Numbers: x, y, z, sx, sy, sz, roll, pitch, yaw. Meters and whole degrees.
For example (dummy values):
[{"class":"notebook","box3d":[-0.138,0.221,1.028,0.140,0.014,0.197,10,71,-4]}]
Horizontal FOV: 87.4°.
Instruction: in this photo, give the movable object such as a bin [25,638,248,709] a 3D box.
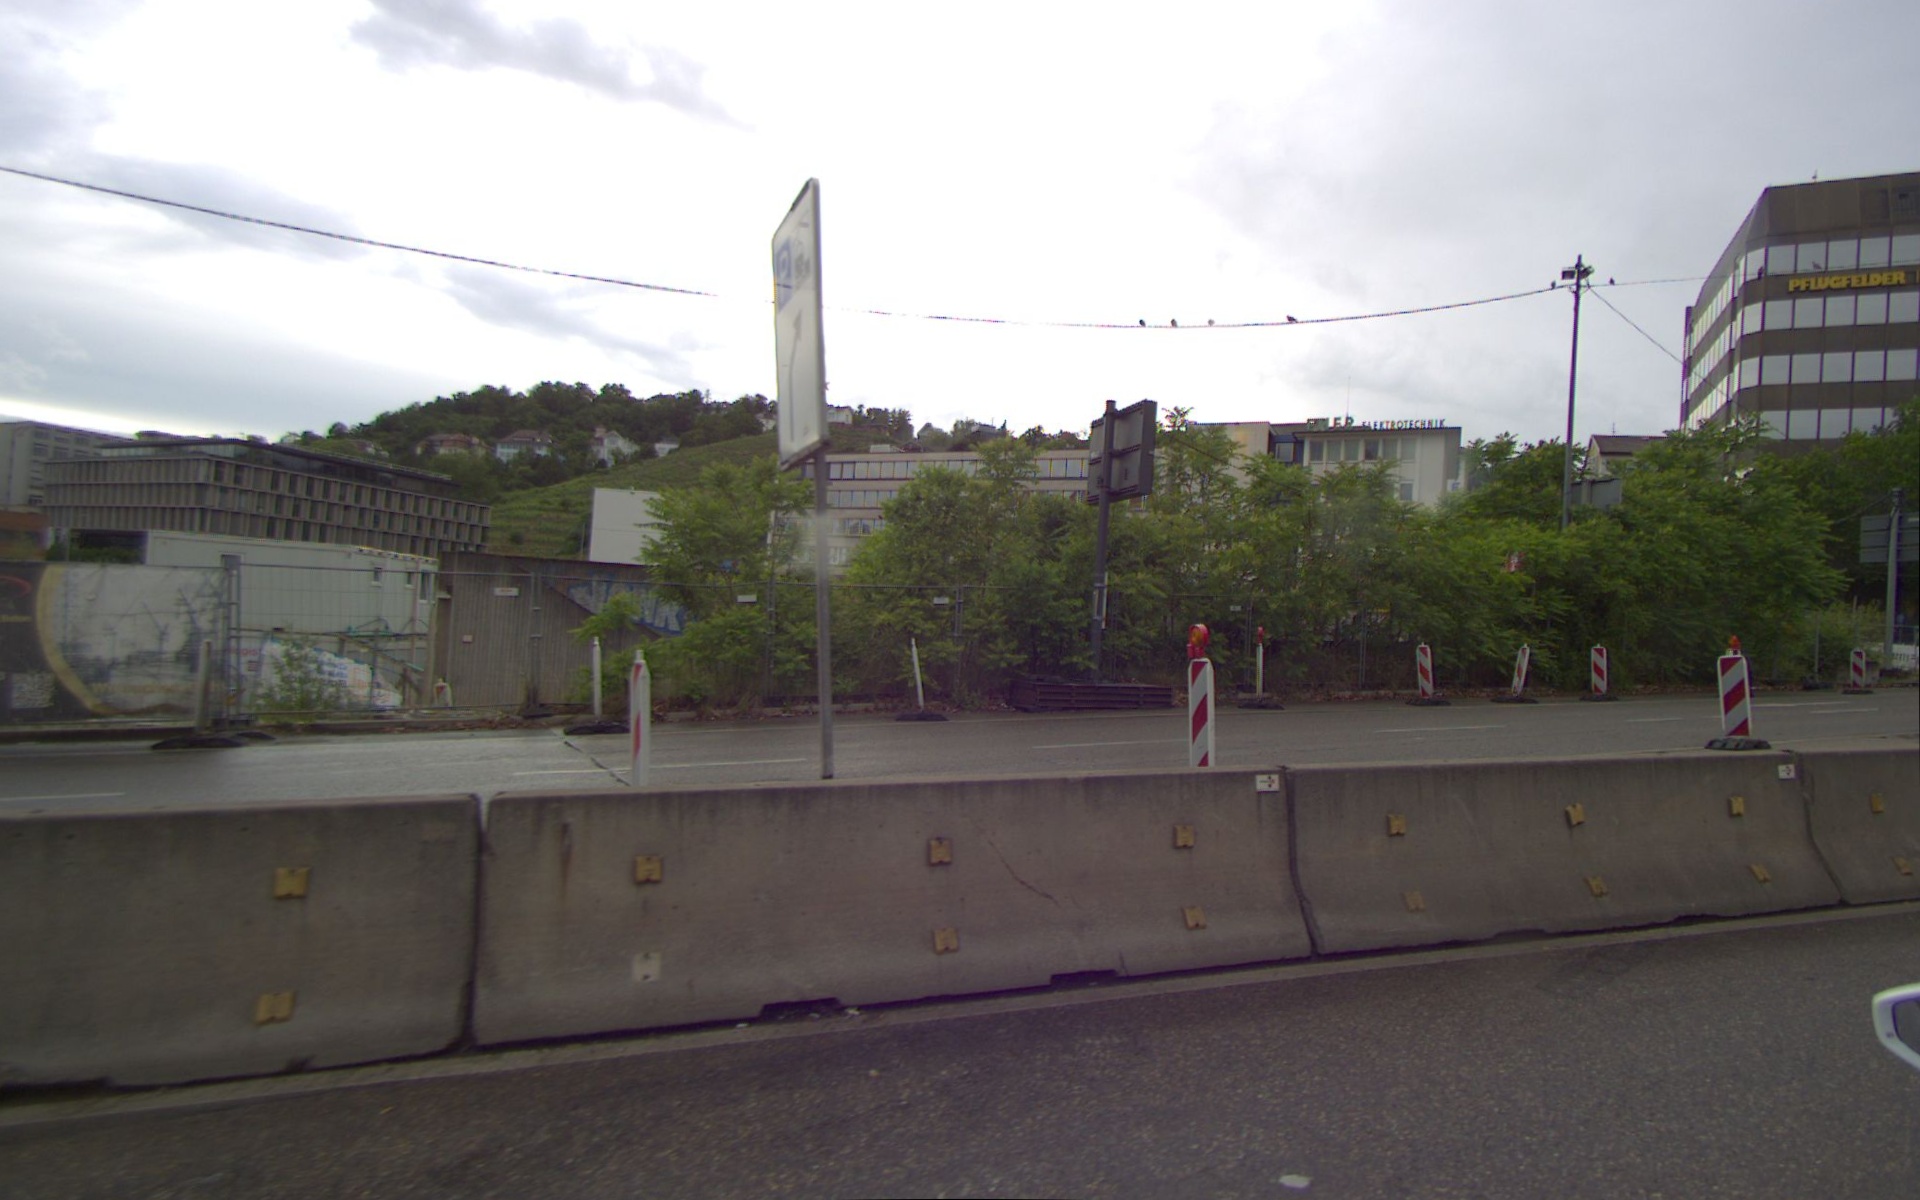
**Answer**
[{"class":"movable object such as a bin","box3d":[-22.795,2.043,28.008,4.377,1.698,1.730,4,-2,-17]}]
